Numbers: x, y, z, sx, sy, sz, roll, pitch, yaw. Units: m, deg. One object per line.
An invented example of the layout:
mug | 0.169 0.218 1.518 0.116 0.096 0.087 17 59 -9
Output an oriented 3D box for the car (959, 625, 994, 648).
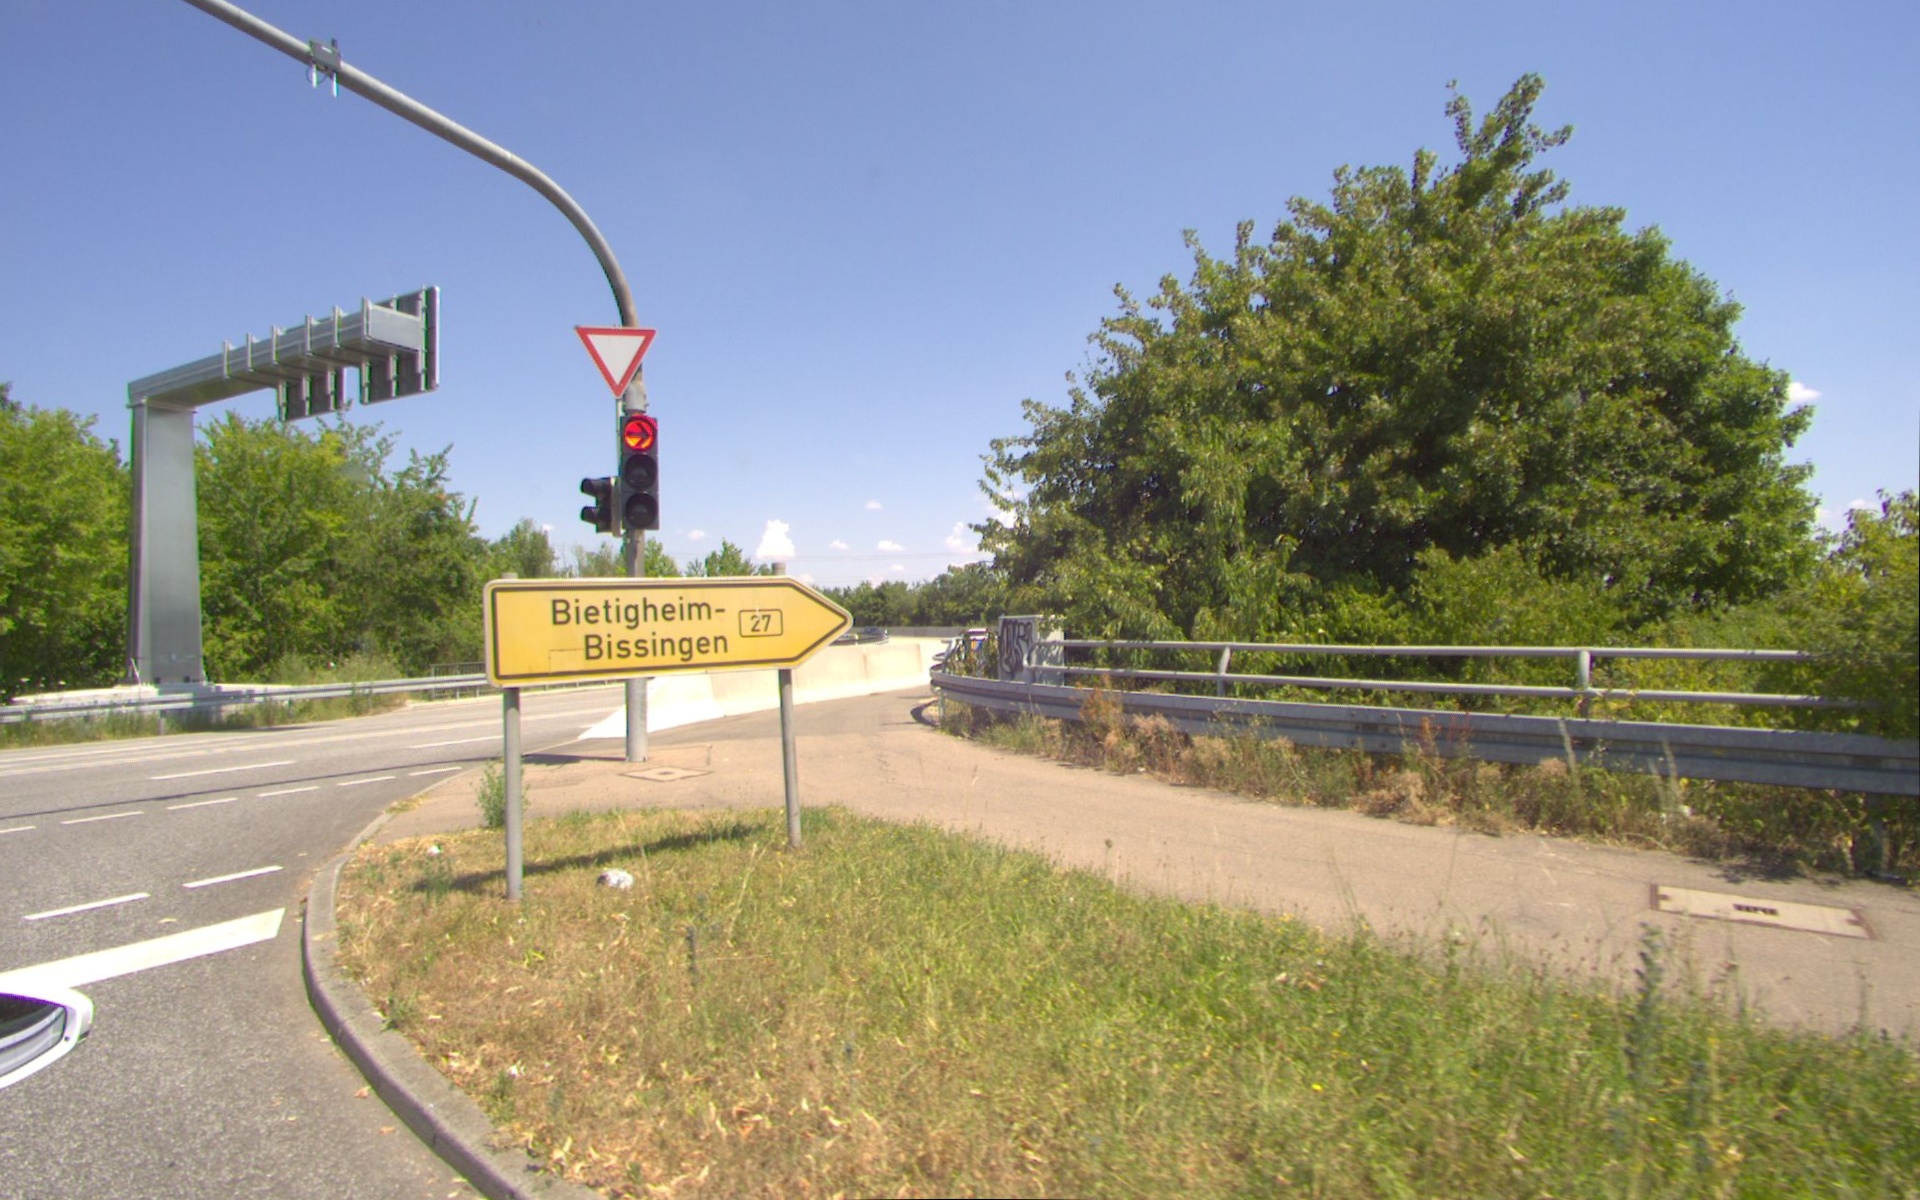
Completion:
car | 1.119 2.379 66.049 1.616 1.413 3.990 -4 -2 11
